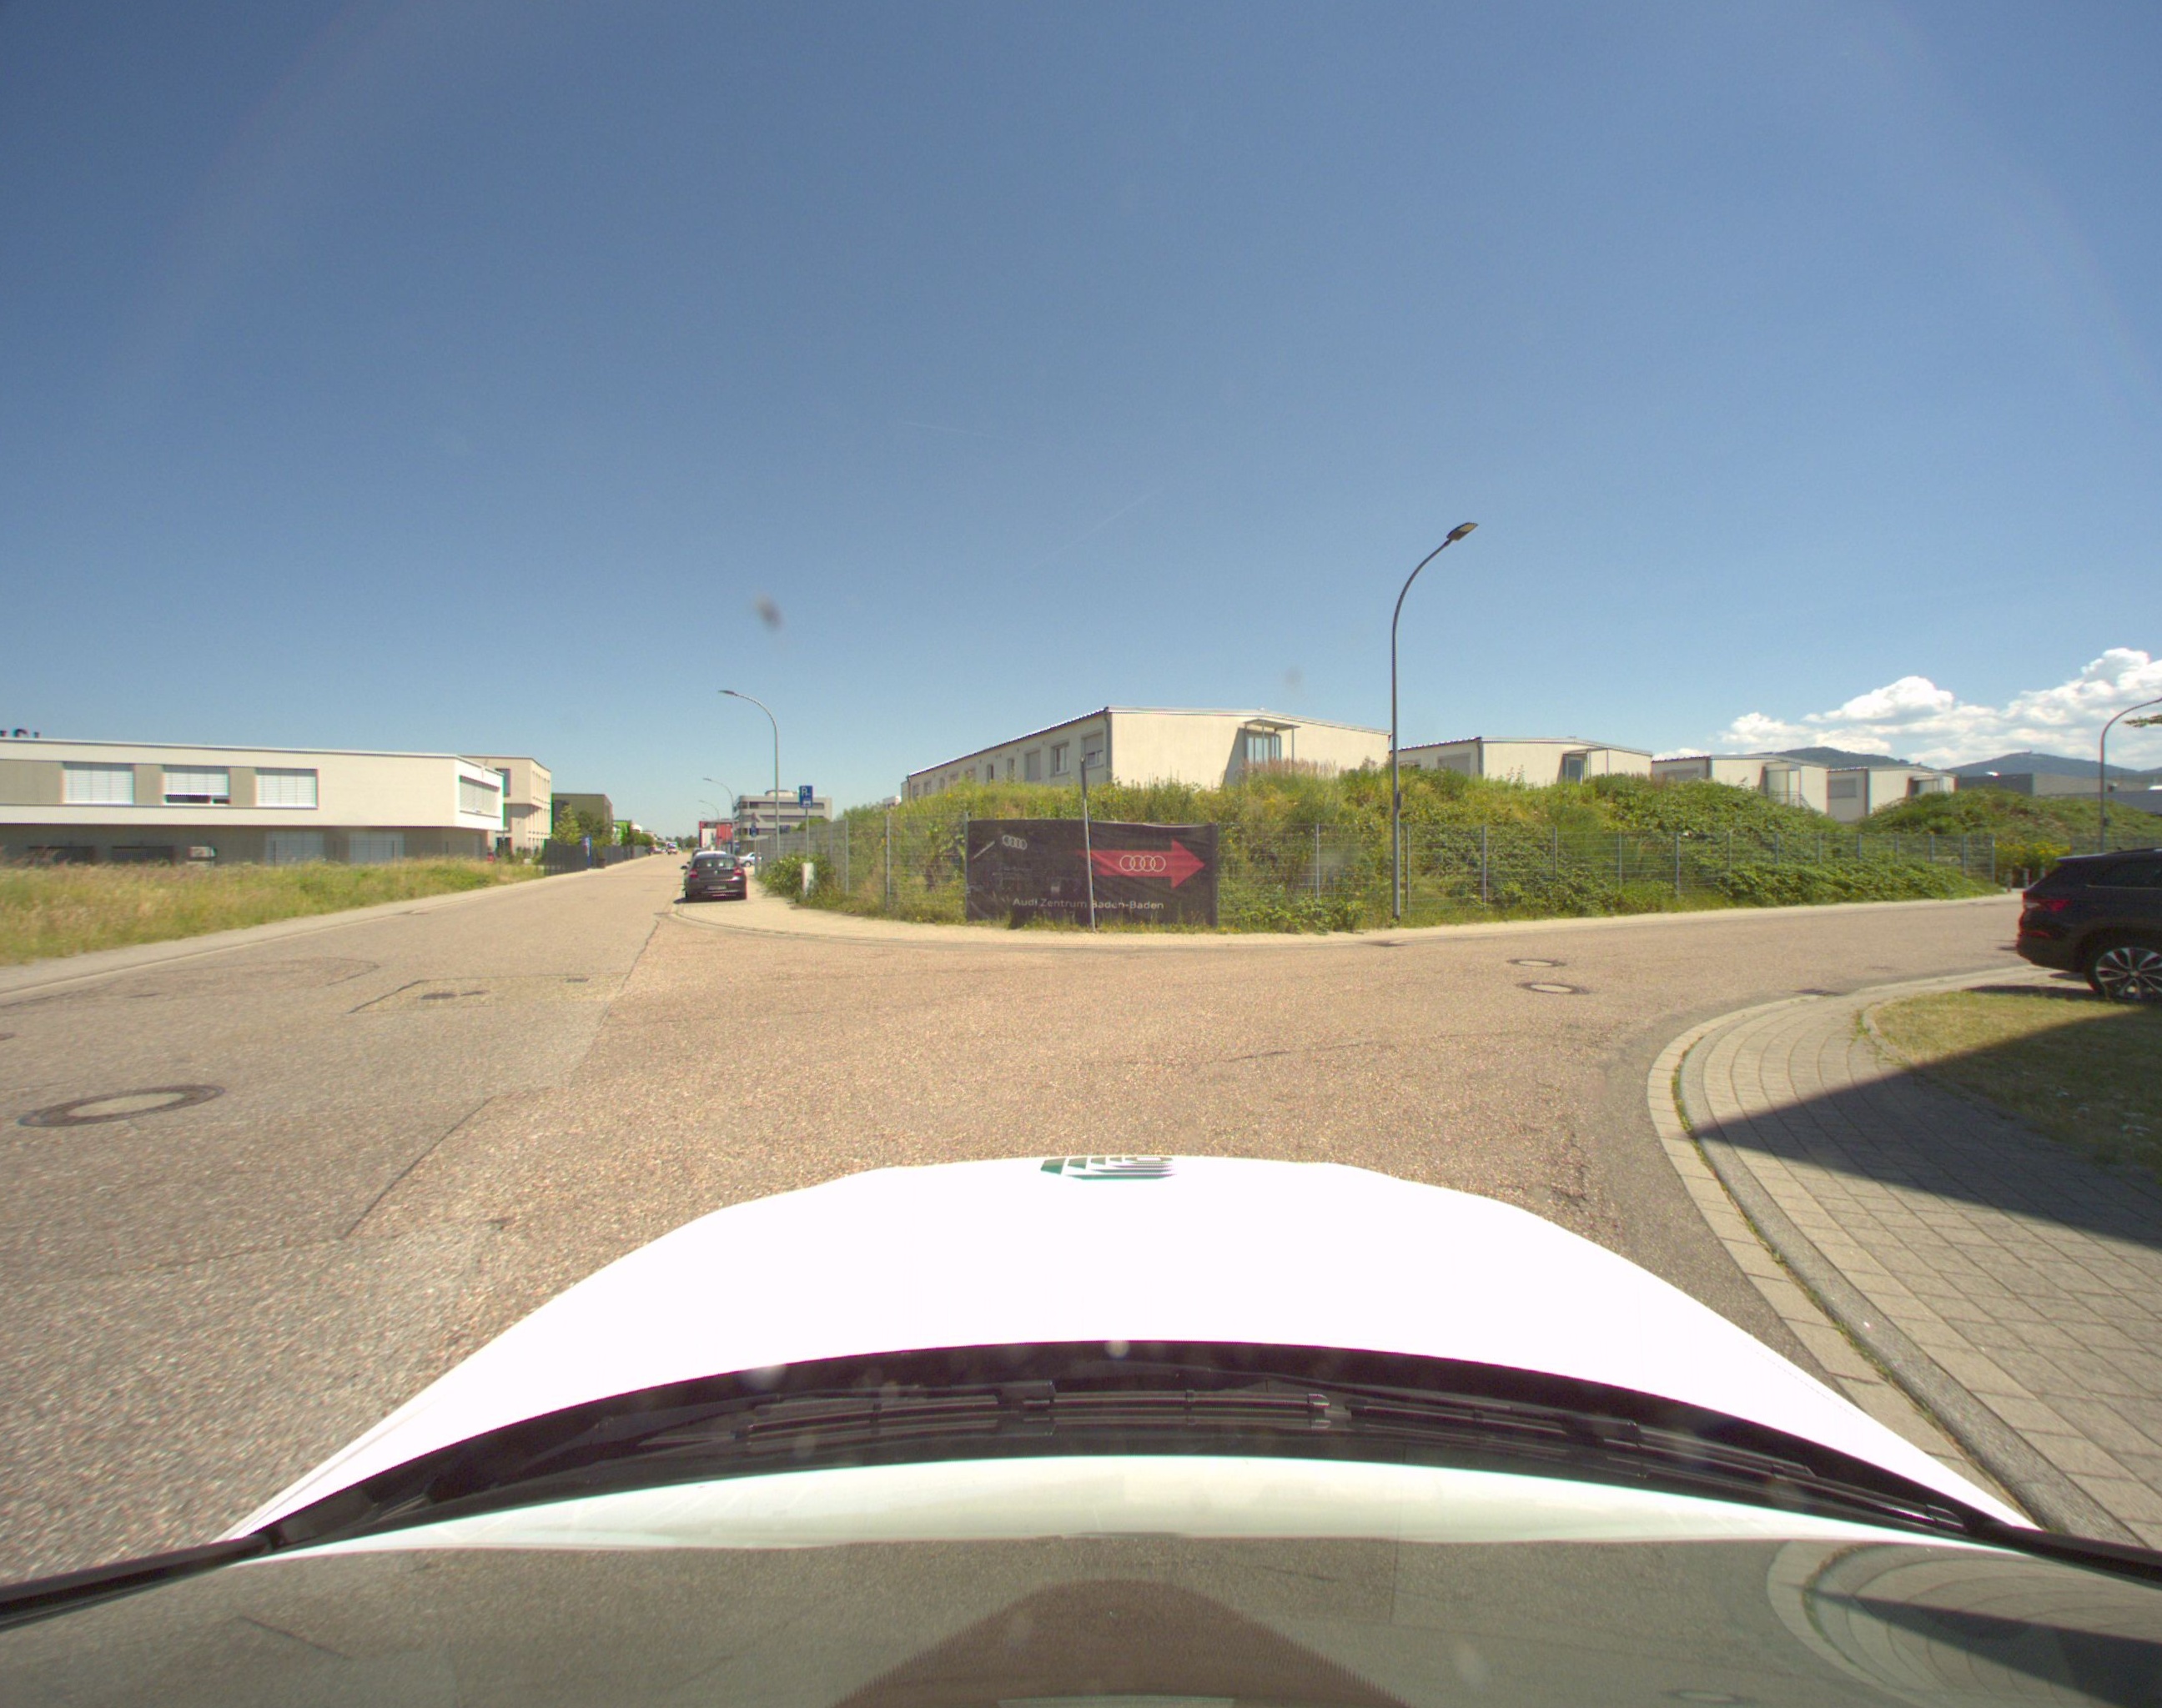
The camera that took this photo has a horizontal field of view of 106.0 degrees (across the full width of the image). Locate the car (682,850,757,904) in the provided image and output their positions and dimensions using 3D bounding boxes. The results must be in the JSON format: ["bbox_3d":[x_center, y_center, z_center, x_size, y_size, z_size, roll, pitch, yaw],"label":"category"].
[{"bbox_3d":[-11.236,0.652,25.458,1.916,1.448,3.970,-2,1,-23],"label":"car"}]

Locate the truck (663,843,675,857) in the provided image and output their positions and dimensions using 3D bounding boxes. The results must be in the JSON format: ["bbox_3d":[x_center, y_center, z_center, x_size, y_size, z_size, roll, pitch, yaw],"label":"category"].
[{"bbox_3d":[-108.987,-0.982,215.432,2.614,3.544,10.406,-2,1,-28],"label":"truck"}]

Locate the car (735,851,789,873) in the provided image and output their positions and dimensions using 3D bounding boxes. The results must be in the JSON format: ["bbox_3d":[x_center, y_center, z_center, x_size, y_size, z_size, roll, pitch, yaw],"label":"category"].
[{"bbox_3d":[-30.406,0.741,77.715,4.644,2.014,2.587,1,0,-23],"label":"car"}]

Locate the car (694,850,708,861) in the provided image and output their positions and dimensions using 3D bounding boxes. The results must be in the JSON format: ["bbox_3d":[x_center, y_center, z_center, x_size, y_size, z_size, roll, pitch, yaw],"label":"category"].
[{"bbox_3d":[-58.179,0.235,124.706,1.785,1.728,3.967,1,0,-25],"label":"car"}]

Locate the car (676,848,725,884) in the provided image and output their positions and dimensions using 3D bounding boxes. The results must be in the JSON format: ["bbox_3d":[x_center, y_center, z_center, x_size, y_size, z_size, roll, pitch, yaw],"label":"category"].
[{"bbox_3d":[-18.040,0.515,38.771,1.916,1.546,3.970,-2,1,-23],"label":"car"}]

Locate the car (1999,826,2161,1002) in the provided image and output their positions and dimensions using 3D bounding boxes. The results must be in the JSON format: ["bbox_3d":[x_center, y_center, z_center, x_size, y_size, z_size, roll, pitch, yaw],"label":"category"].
[{"bbox_3d":[11.952,0.590,7.715,1.725,1.765,3.971,0,-1,-22],"label":"car"}]

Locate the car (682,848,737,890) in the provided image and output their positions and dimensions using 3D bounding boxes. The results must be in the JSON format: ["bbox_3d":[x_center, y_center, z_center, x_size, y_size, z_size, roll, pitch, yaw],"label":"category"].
[{"bbox_3d":[-15.351,0.566,33.816,1.916,1.546,3.970,-2,1,-23],"label":"car"}]
